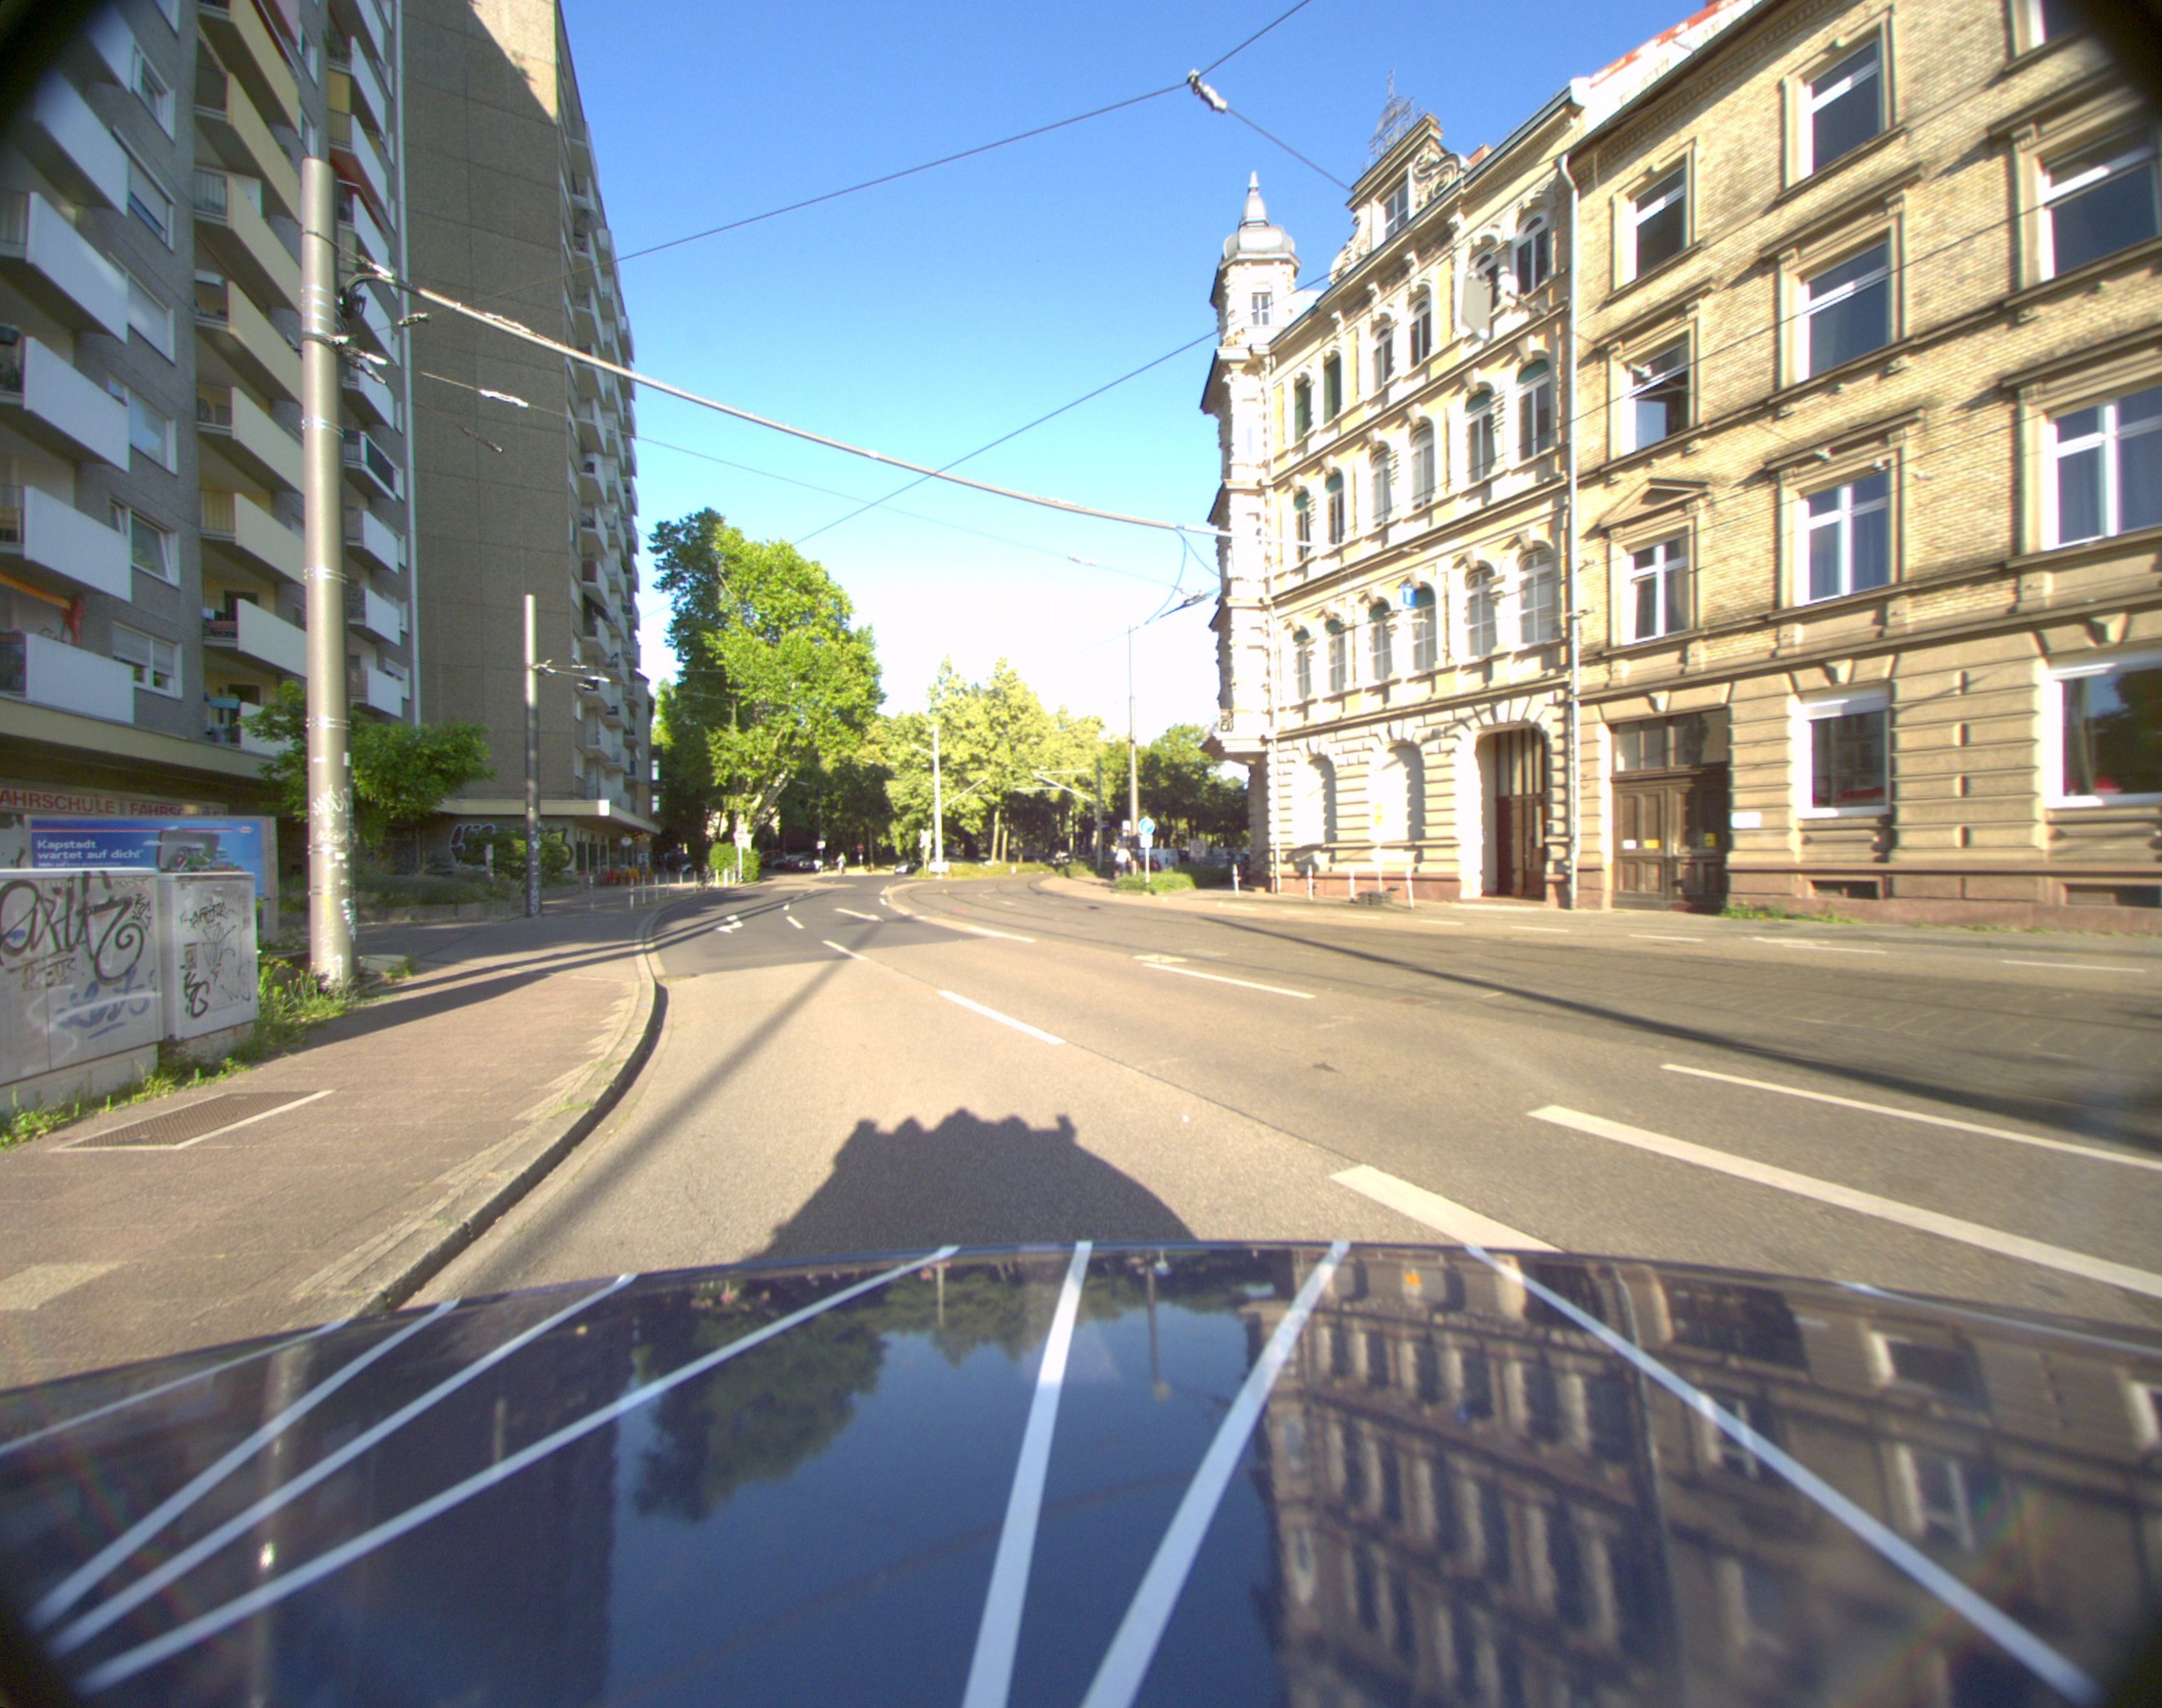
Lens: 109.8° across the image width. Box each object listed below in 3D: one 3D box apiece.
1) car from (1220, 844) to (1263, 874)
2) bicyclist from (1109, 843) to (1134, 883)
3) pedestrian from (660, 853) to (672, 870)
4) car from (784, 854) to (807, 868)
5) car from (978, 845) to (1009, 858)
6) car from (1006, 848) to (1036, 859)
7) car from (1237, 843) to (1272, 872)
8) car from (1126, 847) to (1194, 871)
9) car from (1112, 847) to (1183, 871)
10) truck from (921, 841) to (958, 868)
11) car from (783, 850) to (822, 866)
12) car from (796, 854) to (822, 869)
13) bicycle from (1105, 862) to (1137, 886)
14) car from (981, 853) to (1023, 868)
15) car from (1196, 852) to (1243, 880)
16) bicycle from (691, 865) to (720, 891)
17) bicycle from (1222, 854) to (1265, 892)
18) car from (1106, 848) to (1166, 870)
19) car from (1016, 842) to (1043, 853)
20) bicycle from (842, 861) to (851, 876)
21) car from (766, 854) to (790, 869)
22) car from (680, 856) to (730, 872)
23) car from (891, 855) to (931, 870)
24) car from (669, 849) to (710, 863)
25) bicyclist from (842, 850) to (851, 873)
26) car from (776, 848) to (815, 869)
[{"bbox_3d":[9.485,0.260,44.716,1.734,1.652,4.006,-1,0,23],"label":"car"},{"bbox_3d":[1.893,0.428,35.452,0.728,1.829,1.215,-1,0,25],"label":"bicyclist"},{"bbox_3d":[-50.441,0.886,92.381,1.215,2.002,1.203,-1,1,-33],"label":"pedestrian"},{"bbox_3d":[-30.630,0.705,81.442,1.538,1.440,3.917,-1,0,-32],"label":"car"},{"bbox_3d":[-12.967,-0.359,112.181,4.430,1.740,2.004,0,1,41],"label":"car"},{"bbox_3d":[-9.569,-0.091,121.108,4.345,1.696,2.004,-1,1,35],"label":"car"},{"bbox_3d":[12.674,0.246,55.273,1.996,2.002,4.642,-1,0,18],"label":"car"},{"bbox_3d":[6.243,0.390,60.626,5.044,1.798,2.004,-1,1,36],"label":"car"},{"bbox_3d":[5.027,0.379,57.709,5.044,1.777,2.004,-1,1,36],"label":"car"},{"bbox_3d":[-14.984,0.037,80.766,1.996,2.767,4.889,-1,0,15],"label":"truck"},{"bbox_3d":[-31.636,0.397,86.416,3.934,1.751,1.531,-1,1,-35],"label":"car"},{"bbox_3d":[-27.438,0.787,76.542,1.744,1.440,3.622,-1,0,-32],"label":"car"},{"bbox_3d":[1.880,0.914,35.408,0.727,1.077,2.120,-1,0,24],"label":"bicycle"},{"bbox_3d":[-7.449,0.578,71.611,3.678,1.346,1.744,-1,1,31],"label":"car"},{"bbox_3d":[7.448,0.639,40.650,1.734,1.406,3.439,-1,0,23],"label":"car"},{"bbox_3d":[-17.666,1.100,35.772,0.610,1.128,2.278,-1,0,-10],"label":"bicycle"},{"bbox_3d":[5.913,0.660,27.565,0.643,1.259,2.693,0,1,32],"label":"bicycle"},{"bbox_3d":[3.985,0.374,55.622,3.988,1.499,1.872,-1,1,36],"label":"car"},{"bbox_3d":[-8.397,-1.050,123.723,3.989,1.740,1.889,-1,1,34],"label":"car"},{"bbox_3d":[-18.396,1.114,59.618,0.611,1.168,1.949,-1,0,-14],"label":"bicycle"},{"bbox_3d":[-37.287,0.887,93.472,1.775,1.846,4.217,-1,1,-34],"label":"car"},{"bbox_3d":[-36.283,0.964,73.339,4.007,1.499,1.881,-1,0,-34],"label":"car"},{"bbox_3d":[-16.855,0.790,75.570,1.946,1.390,4.006,-1,0,22],"label":"car"},{"bbox_3d":[-45.430,0.196,88.078,4.007,1.499,1.881,-1,0,-34],"label":"car"},{"bbox_3d":[-18.417,0.601,59.656,0.607,1.753,1.059,-1,1,-13],"label":"bicyclist"},{"bbox_3d":[-33.176,0.532,88.257,3.934,2.392,1.531,-1,1,-35],"label":"car"}]
